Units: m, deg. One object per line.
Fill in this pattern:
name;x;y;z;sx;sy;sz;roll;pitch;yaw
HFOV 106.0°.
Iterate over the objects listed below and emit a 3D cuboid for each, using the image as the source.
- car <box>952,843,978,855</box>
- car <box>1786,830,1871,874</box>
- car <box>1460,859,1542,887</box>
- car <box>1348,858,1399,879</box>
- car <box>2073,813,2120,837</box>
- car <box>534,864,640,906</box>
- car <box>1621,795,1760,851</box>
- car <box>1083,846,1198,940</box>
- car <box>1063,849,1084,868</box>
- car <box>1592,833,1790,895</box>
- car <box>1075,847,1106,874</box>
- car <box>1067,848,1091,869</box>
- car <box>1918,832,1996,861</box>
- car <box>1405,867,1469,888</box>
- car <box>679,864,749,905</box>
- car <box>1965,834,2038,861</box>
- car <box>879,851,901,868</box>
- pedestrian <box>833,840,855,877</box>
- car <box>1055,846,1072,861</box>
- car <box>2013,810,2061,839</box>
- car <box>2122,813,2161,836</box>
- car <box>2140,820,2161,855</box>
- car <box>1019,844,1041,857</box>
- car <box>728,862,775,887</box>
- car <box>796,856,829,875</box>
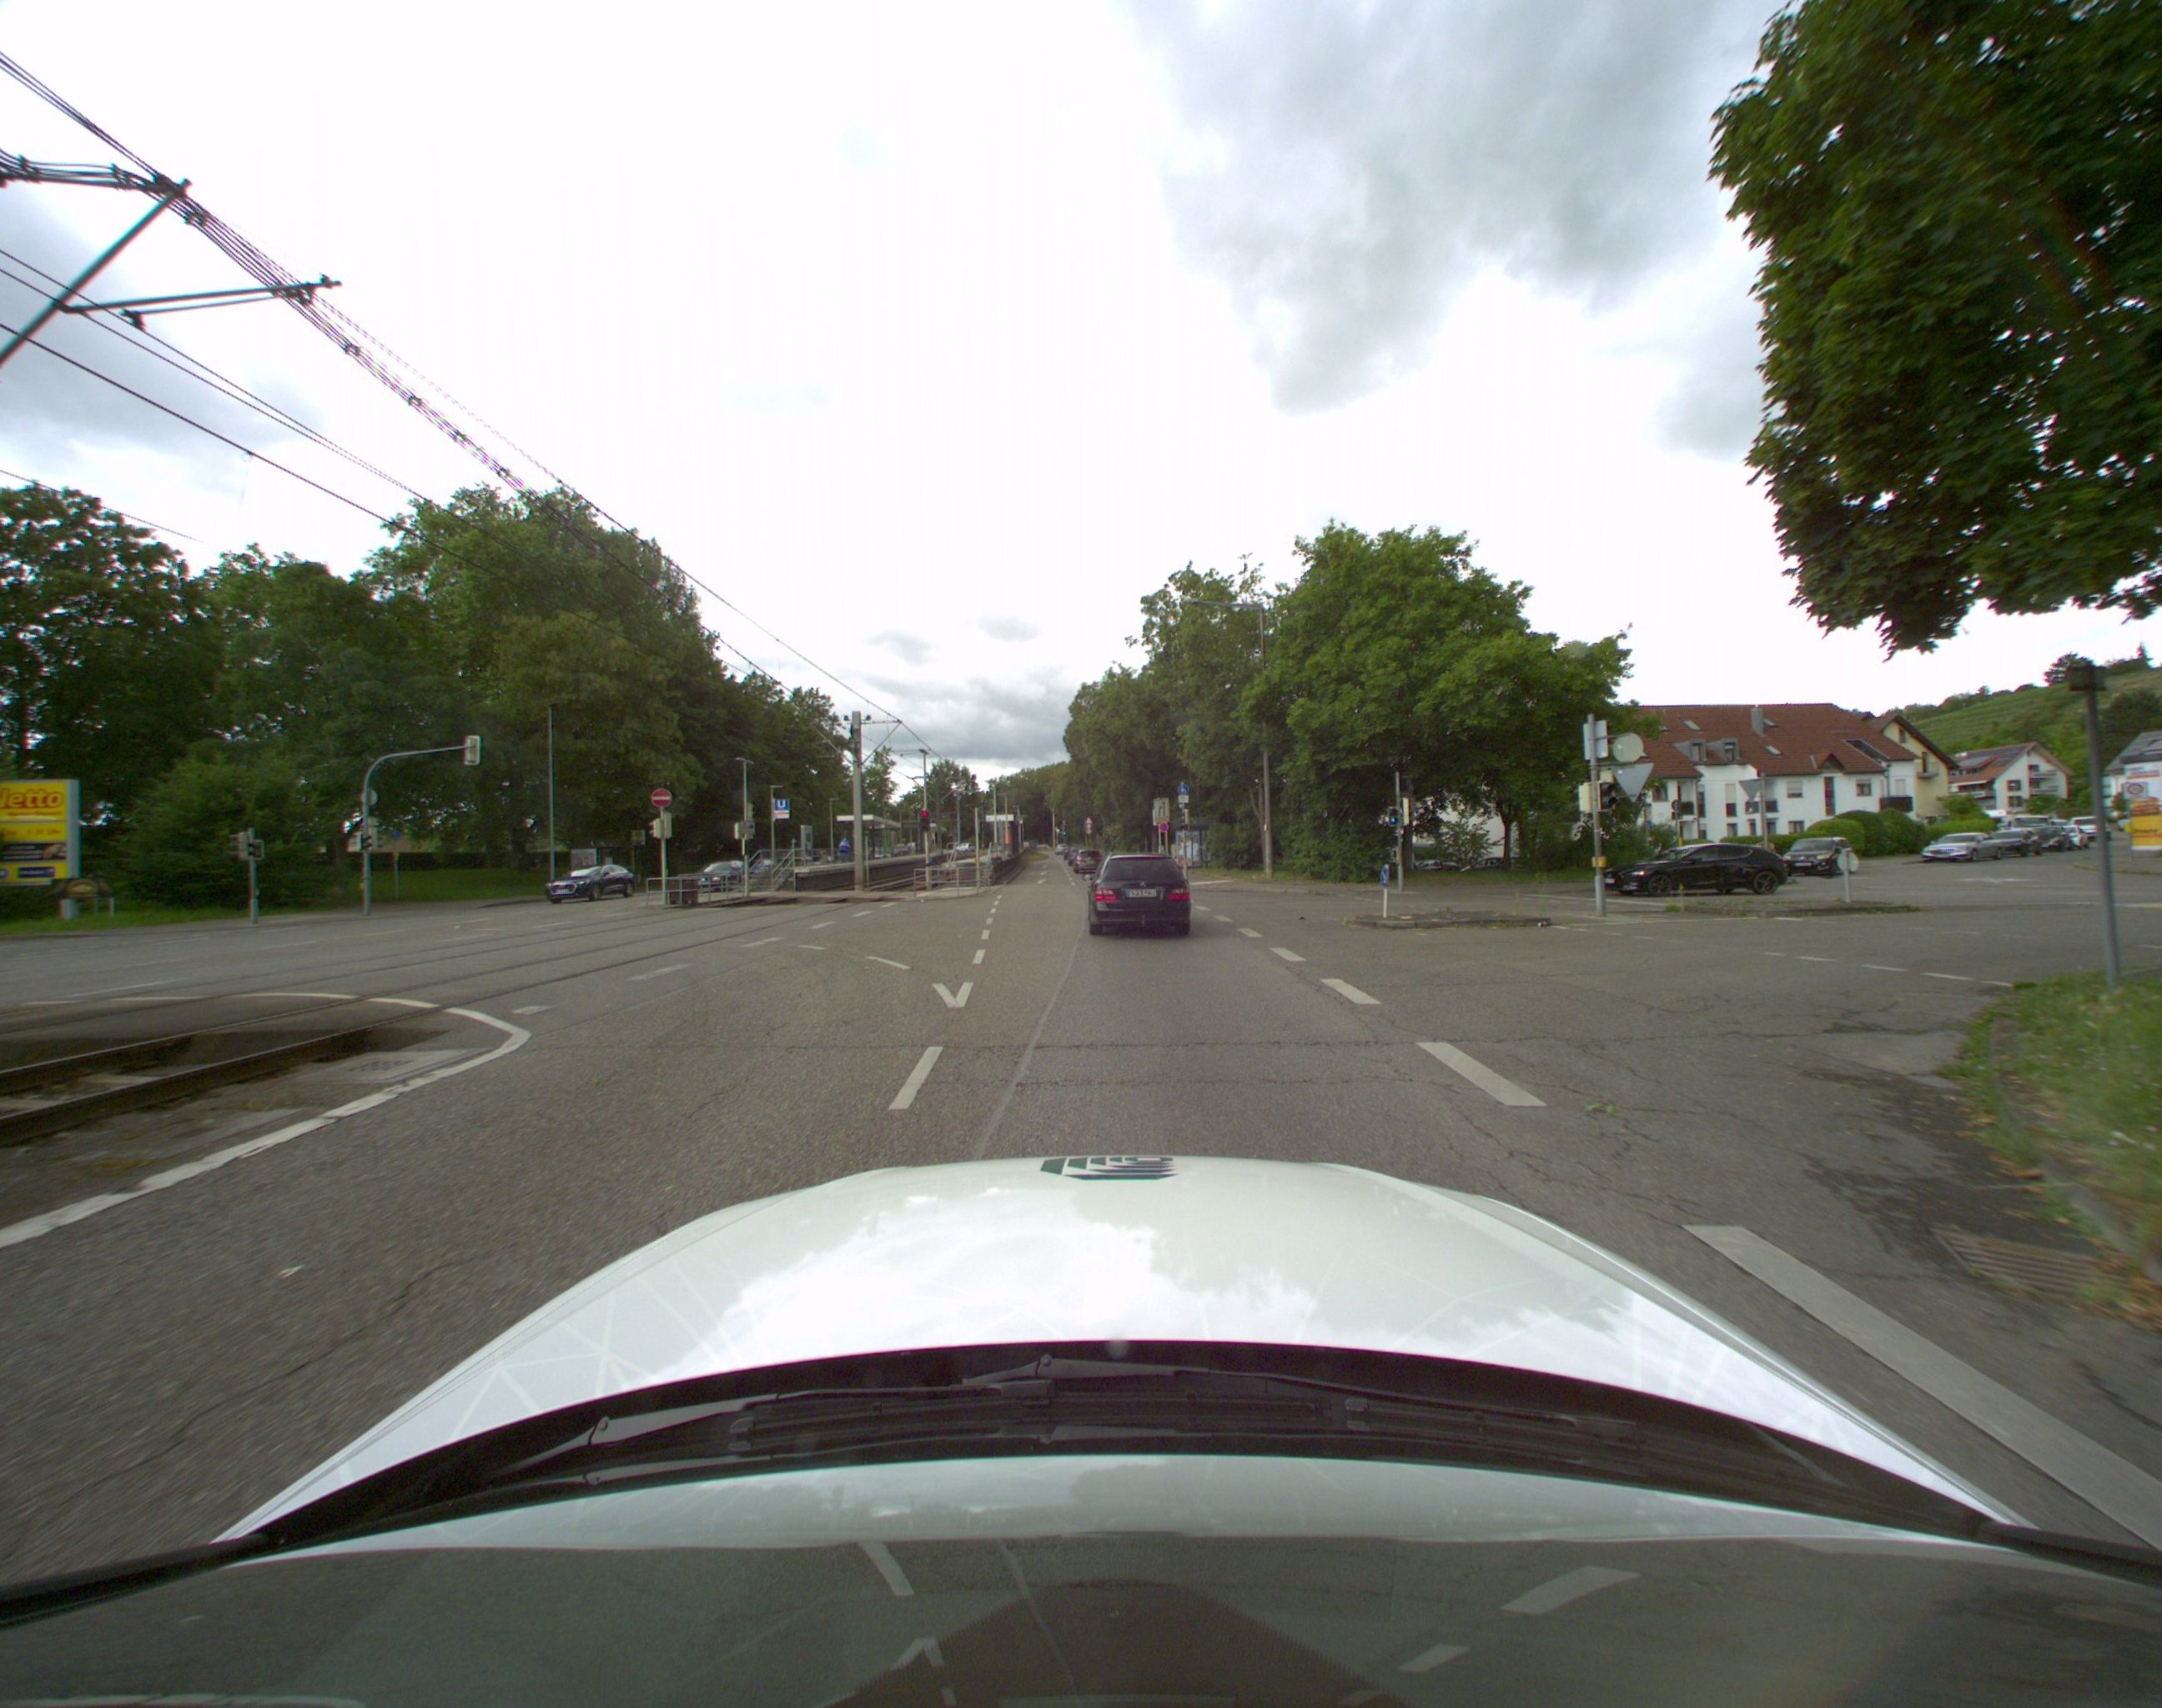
car;-19.496;-0.872;136.745;3.948;2.014;2.013;0;-1;34
car;32.327;-0.059;35.201;4.017;1.766;1.978;1;-1;-36
car;22.909;1.017;44.594;1.662;1.461;4.270;0;-1;-13
car;20.158;0.971;56.231;1.480;1.386;3.823;0;-1;-13
car;78.779;-2.255;63.162;4.487;1.753;1.979;-2;0;-35
car;-21.239;1.291;35.286;1.990;1.482;4.501;-3;0;-4
car;24.318;-1.208;32.662;3.956;2.013;2.009;-2;0;16
car;0.996;0.642;15.493;1.777;1.525;3.997;-1;0;-2
car;-0.814;0.506;83.792;1.989;1.918;3.995;0;-1;-3
car;16.998;0.290;22.861;4.132;1.526;1.707;-2;-1;5
car;0.645;0.440;51.731;1.774;1.648;4.003;0;-1;3
car;-0.199;0.406;66.396;1.777;1.648;3.996;0;-1;-2
car;45.592;-0.360;42.373;4.485;1.426;1.980;1;-1;-33
car;21.871;1.424;50.169;1.623;1.246;3.840;0;-1;-13
car;-17.365;1.402;38.730;1.693;1.860;3.995;0;-1;-3
car;51.504;-0.353;45.555;4.483;1.426;1.980;1;-1;-31
car;-22.258;0.663;95.082;1.706;1.751;4.395;-3;-1;-3
pedestrian;-14.400;0.269;49.537;0.967;2.186;0.975;-2;0;-2
car;-2.284;-0.069;104.916;1.989;1.893;3.995;0;-1;-3
car;74.947;-2.322;63.831;4.487;2.125;1.979;-2;0;-35
car;108.096;-2.973;82.912;4.493;2.237;2.386;-2;0;-41
car;48.845;-0.756;36.034;4.014;1.517;1.980;-2;0;-32
car;-7.735;-0.495;123.904;2.003;1.966;3.966;1;-1;-25
car;-21.155;1.278;52.429;1.592;1.446;4.046;-3;0;-5
car;-23.261;1.013;70.626;1.682;1.446;3.995;-4;0;-3
